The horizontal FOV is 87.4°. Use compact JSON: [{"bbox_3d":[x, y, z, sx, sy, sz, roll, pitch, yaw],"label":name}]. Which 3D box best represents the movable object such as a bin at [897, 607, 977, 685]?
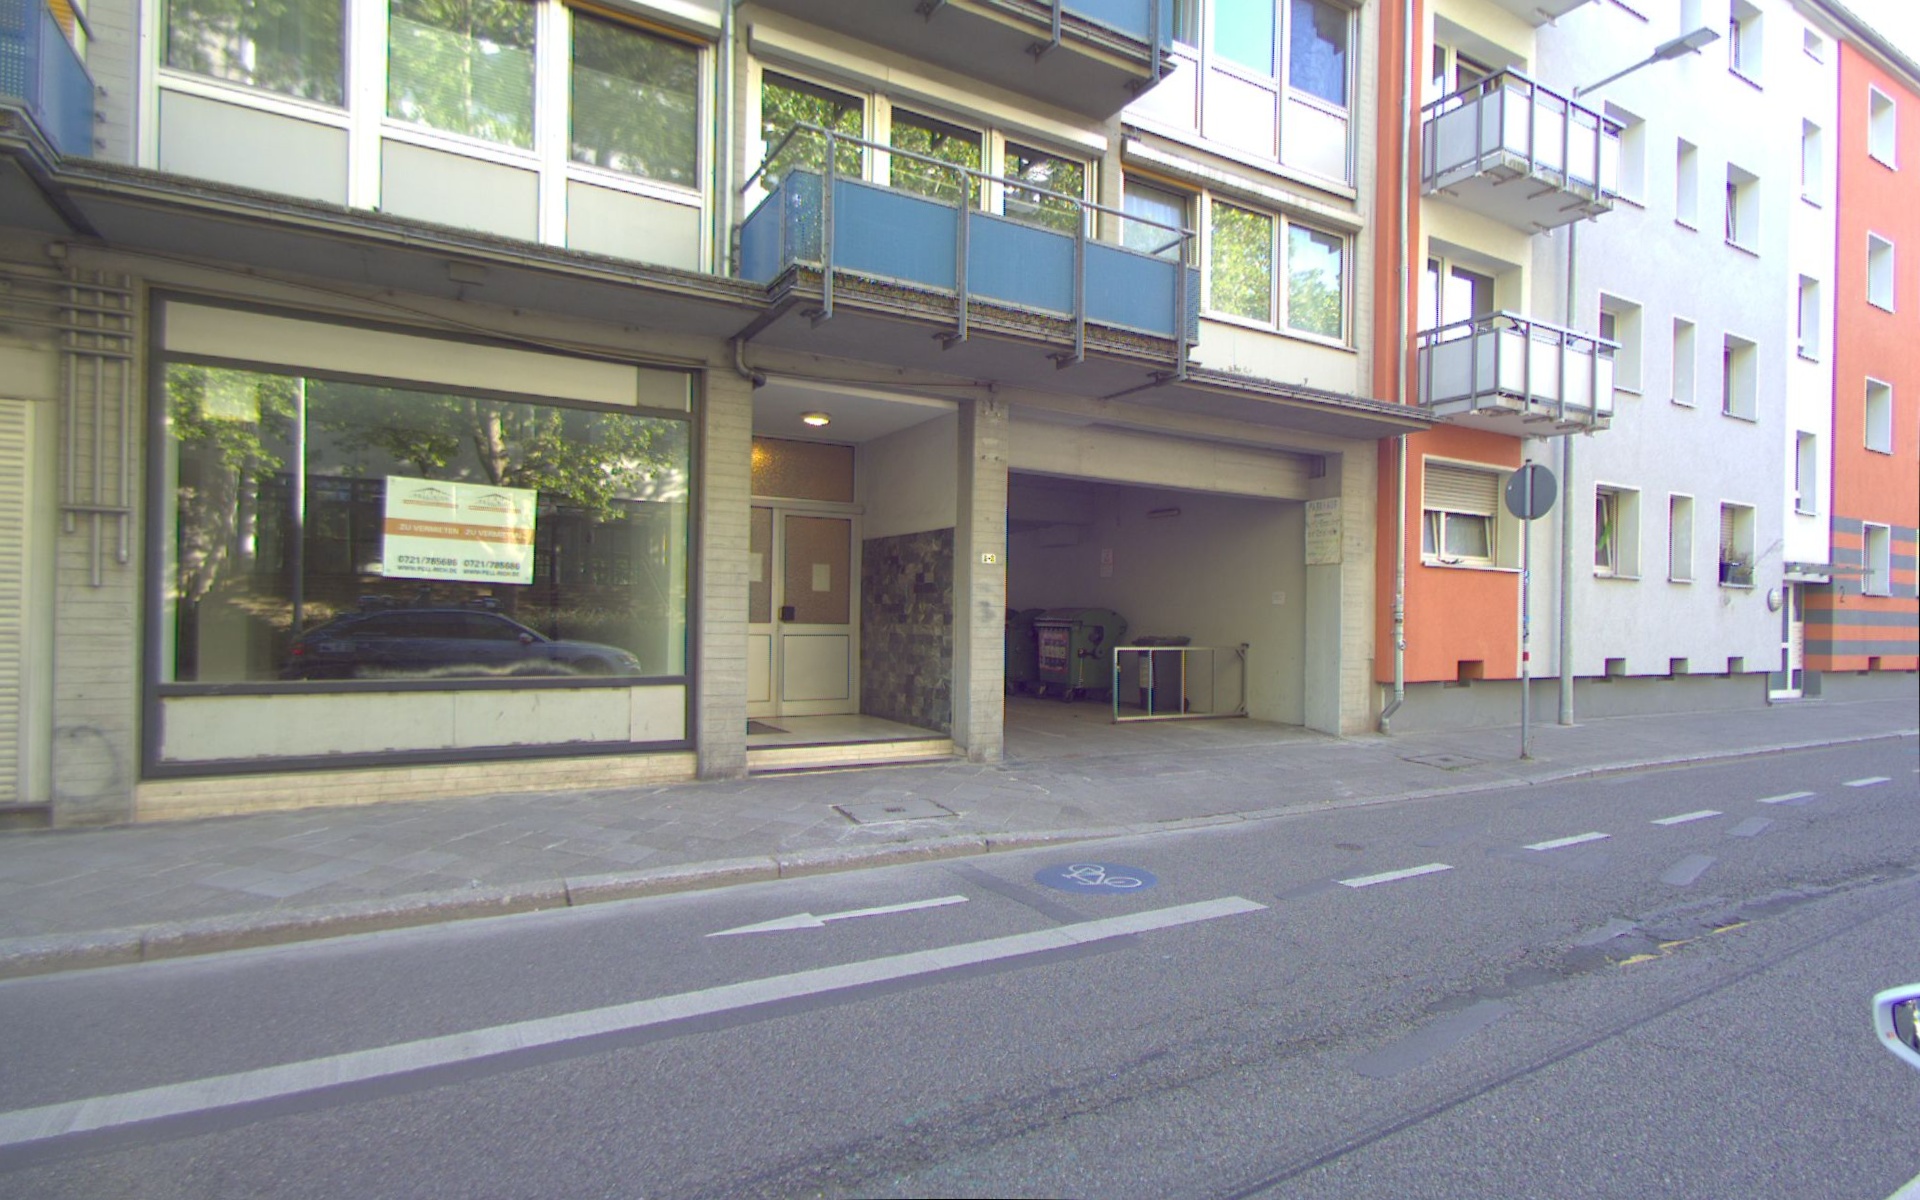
[{"bbox_3d":[-0.454,0.872,19.609,1.116,1.444,1.201,1,0,-30],"label":"movable object such as a bin"}]

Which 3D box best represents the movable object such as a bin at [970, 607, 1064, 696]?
[{"bbox_3d":[0.964,0.859,17.162,1.116,1.444,1.201,1,0,-30],"label":"movable object such as a bin"}]

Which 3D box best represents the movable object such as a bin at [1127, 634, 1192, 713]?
[{"bbox_3d":[2.873,1.046,14.493,0.667,1.079,0.639,1,0,-30],"label":"movable object such as a bin"}]

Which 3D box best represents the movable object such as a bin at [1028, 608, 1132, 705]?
[{"bbox_3d":[1.876,0.864,15.803,1.116,1.444,1.201,1,0,-30],"label":"movable object such as a bin"}]

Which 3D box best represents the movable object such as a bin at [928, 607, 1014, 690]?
[{"bbox_3d":[0.194,0.865,18.461,1.116,1.444,1.201,1,0,-30],"label":"movable object such as a bin"}]
